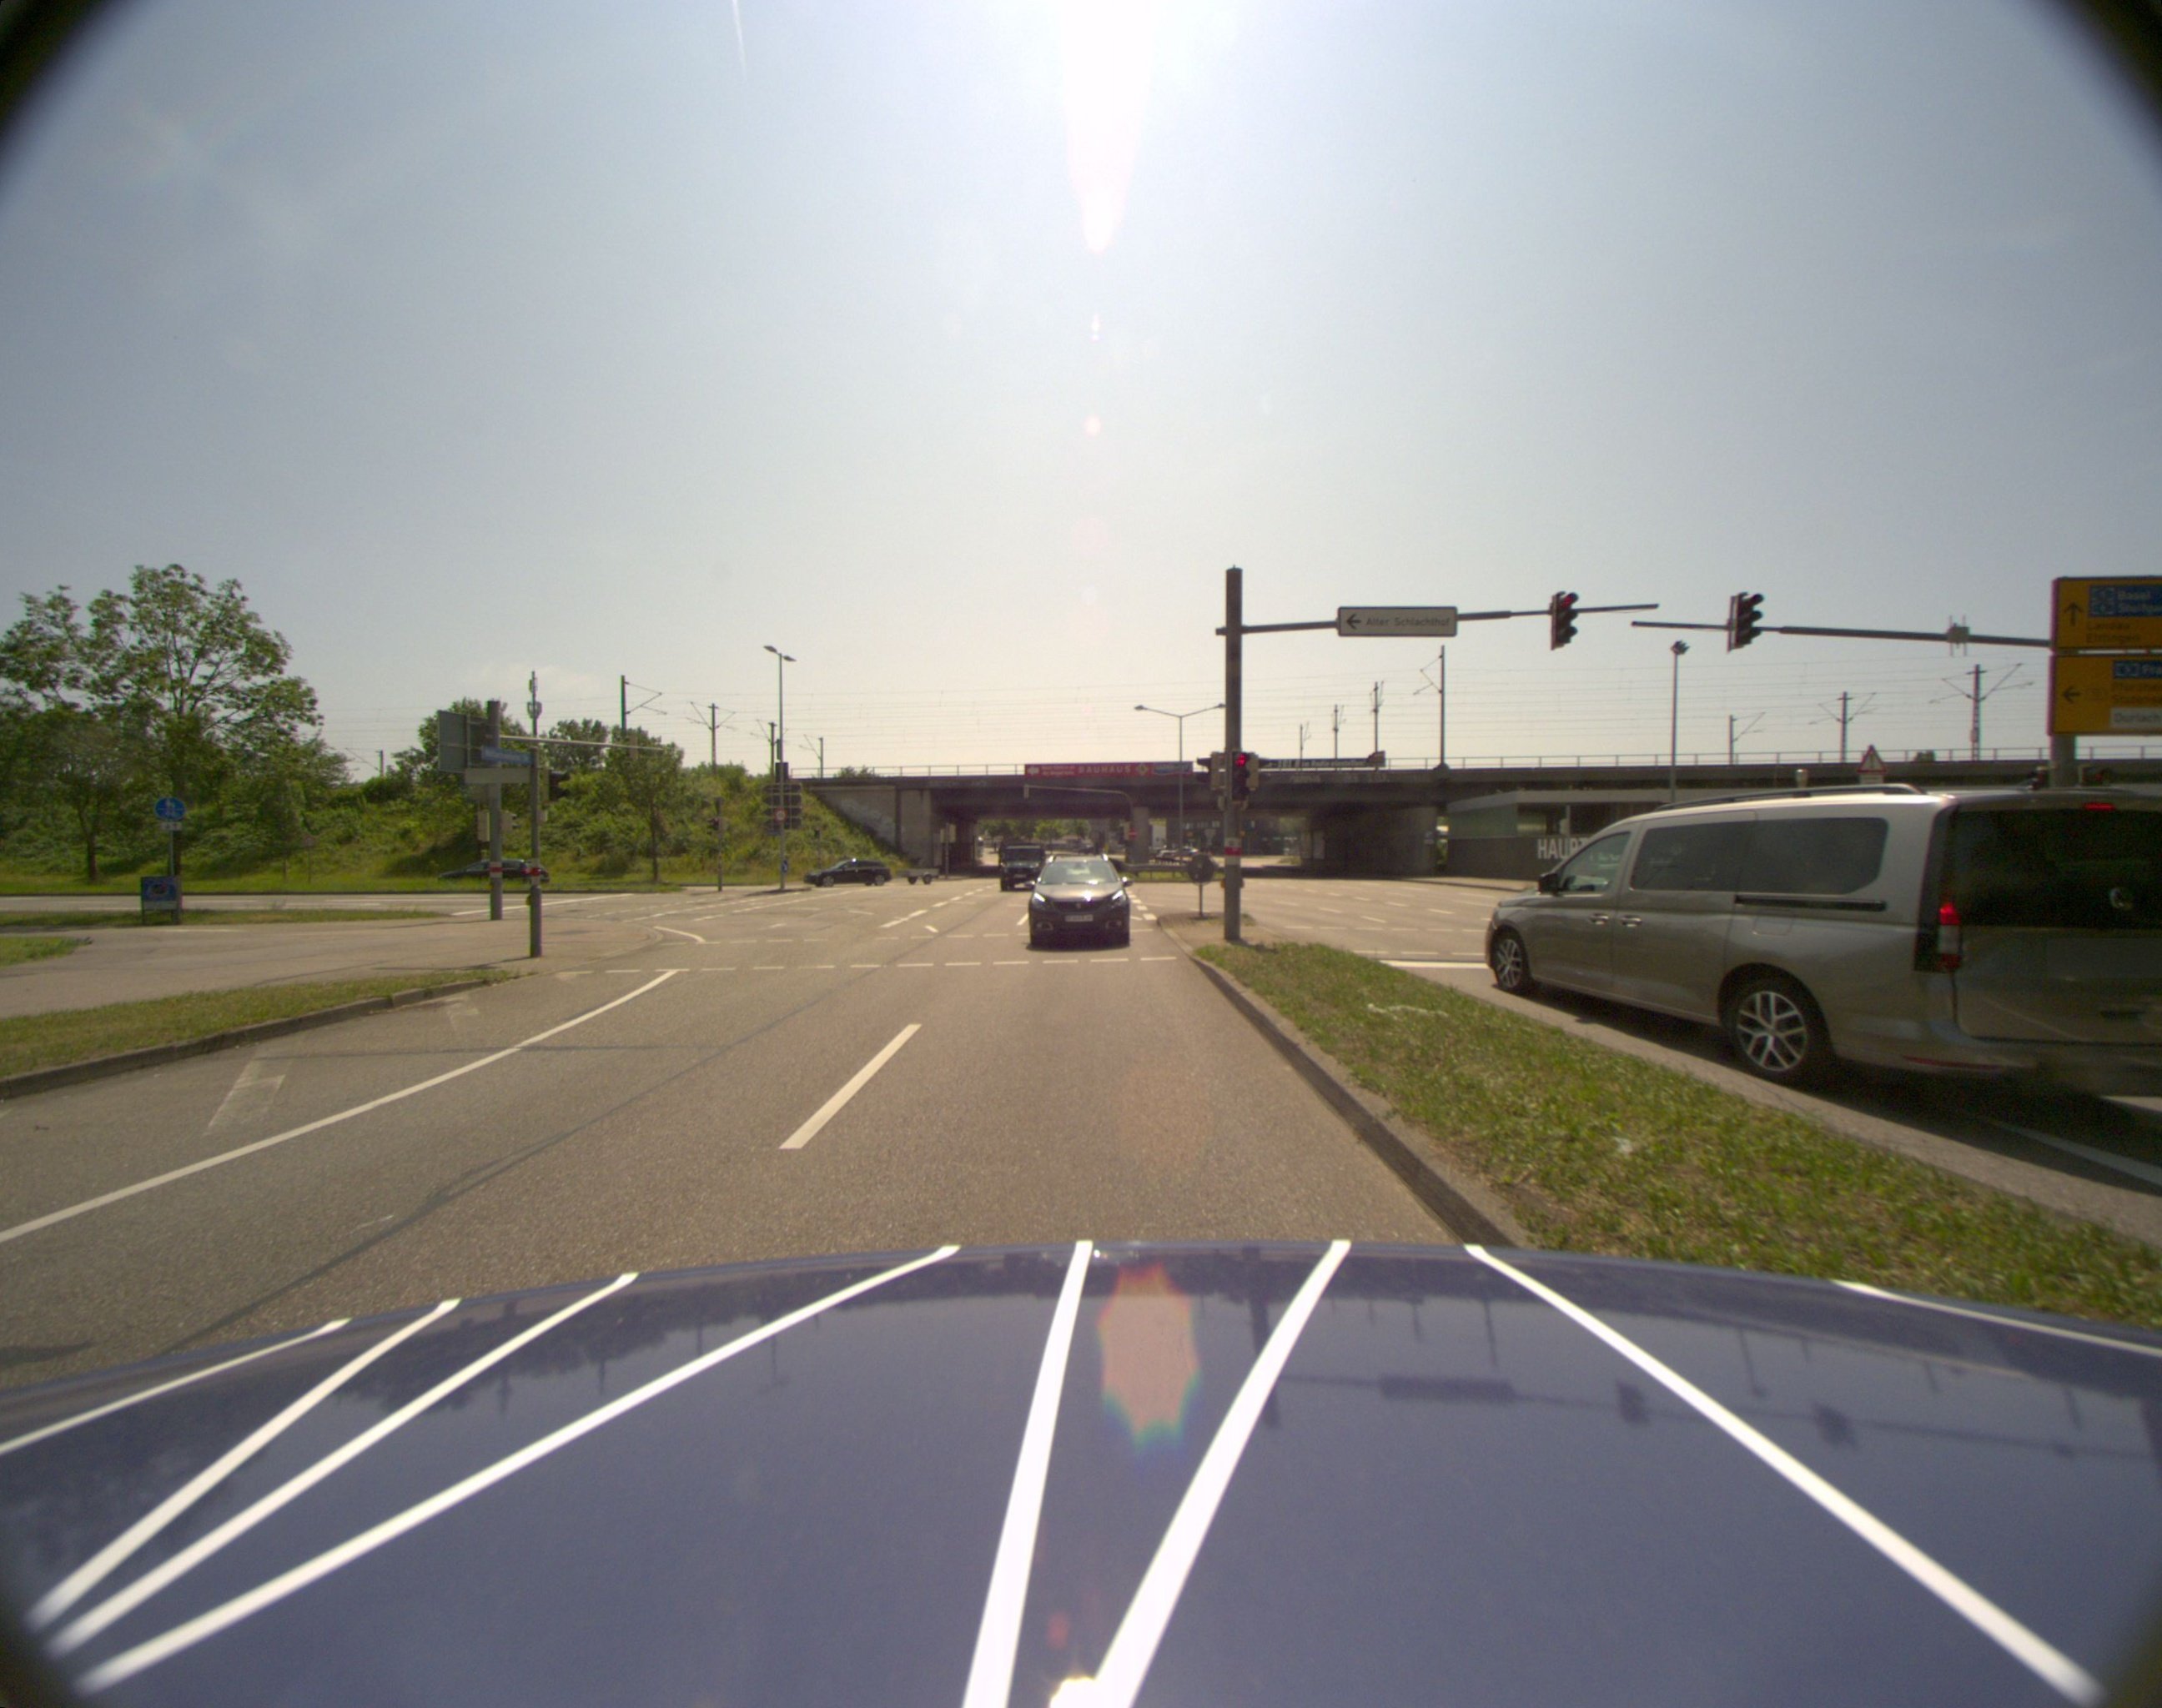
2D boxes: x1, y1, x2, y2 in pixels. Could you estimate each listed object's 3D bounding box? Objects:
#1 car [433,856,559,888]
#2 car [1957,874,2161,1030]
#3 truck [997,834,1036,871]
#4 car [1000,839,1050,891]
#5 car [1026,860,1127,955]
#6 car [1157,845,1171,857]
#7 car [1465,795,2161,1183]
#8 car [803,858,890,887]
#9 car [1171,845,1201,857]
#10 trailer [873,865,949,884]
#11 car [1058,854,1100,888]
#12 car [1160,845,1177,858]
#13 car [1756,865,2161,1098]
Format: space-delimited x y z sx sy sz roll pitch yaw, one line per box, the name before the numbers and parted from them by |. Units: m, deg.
car | -28.580 0.840 37.217 4.671 1.494 1.809 0 1 -2
car | 11.012 0.954 6.610 1.815 1.409 4.250 1 0 -1
truck | -5.354 -0.149 63.973 2.886 2.899 8.514 -1 0 -3
car | -2.399 0.438 33.663 1.841 2.141 4.557 -1 1 0
car | 0.048 0.883 14.453 1.619 1.503 4.459 0 0 3
car | 11.289 -0.402 103.274 1.709 1.535 3.376 0 0 9
car | 5.051 0.636 5.887 1.814 1.790 4.714 1 0 1
car | -12.042 0.920 39.135 3.910 1.382 1.805 -1 1 -37
car | 15.114 -0.415 109.211 3.991 1.674 2.003 0 1 18
trailer | -9.278 1.109 41.757 1.677 0.936 3.841 0 1 40
car | -0.048 0.758 35.173 1.817 1.456 4.000 0 0 1
car | 10.226 -0.300 89.057 1.710 1.442 3.373 0 1 2
car | 7.835 0.856 5.632 1.815 1.437 4.249 1 0 -1
